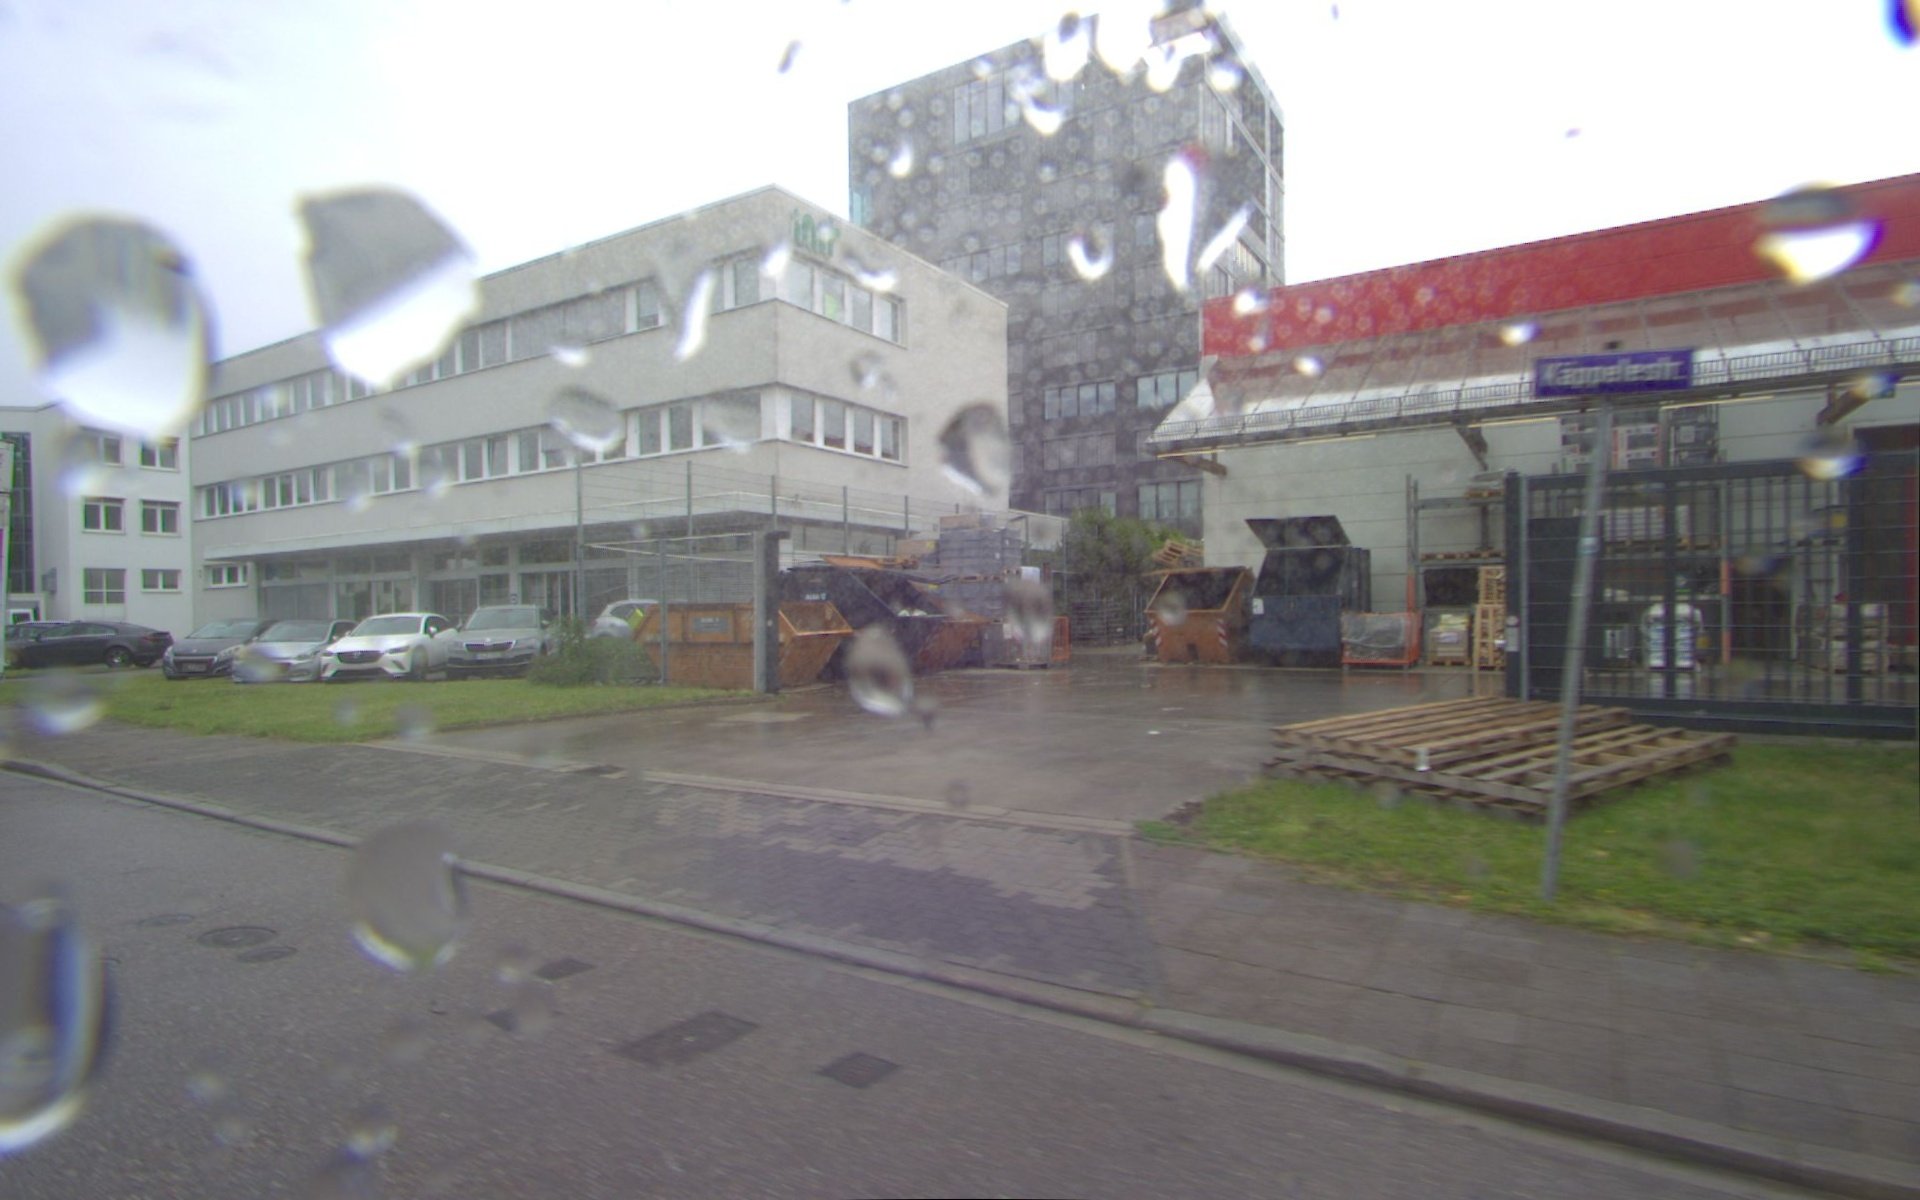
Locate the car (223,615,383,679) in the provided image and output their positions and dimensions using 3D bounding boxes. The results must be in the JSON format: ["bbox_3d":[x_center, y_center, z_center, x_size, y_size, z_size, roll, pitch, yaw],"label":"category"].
[{"bbox_3d":[-14.979,1.020,23.080,1.675,1.303,3.997,-1,0,-11],"label":"car"}]

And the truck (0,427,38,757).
[{"bbox_3d":[-15.565,-0.076,13.302,9.171,3.836,2.736,-1,-3,34],"label":"truck"}]

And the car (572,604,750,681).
[{"bbox_3d":[-7.347,0.996,24.532,4.084,1.728,1.989,-1,0,32],"label":"car"}]

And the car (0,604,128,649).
[{"bbox_3d":[-43.897,1.262,47.567,1.970,2.039,6.448,-1,-2,29],"label":"car"}]

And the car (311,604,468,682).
[{"bbox_3d":[-12.118,0.858,21.573,1.742,1.489,3.997,-1,0,-11],"label":"car"}]

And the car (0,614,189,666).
[{"bbox_3d":[-27.047,1.212,31.058,4.595,1.487,1.787,-1,0,-19],"label":"car"}]

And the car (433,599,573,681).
[{"bbox_3d":[-9.606,0.790,21.358,1.838,1.547,3.996,-1,0,-12],"label":"car"}]

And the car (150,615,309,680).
[{"bbox_3d":[-17.604,1.088,24.360,1.675,1.411,3.765,-1,0,-11],"label":"car"}]
